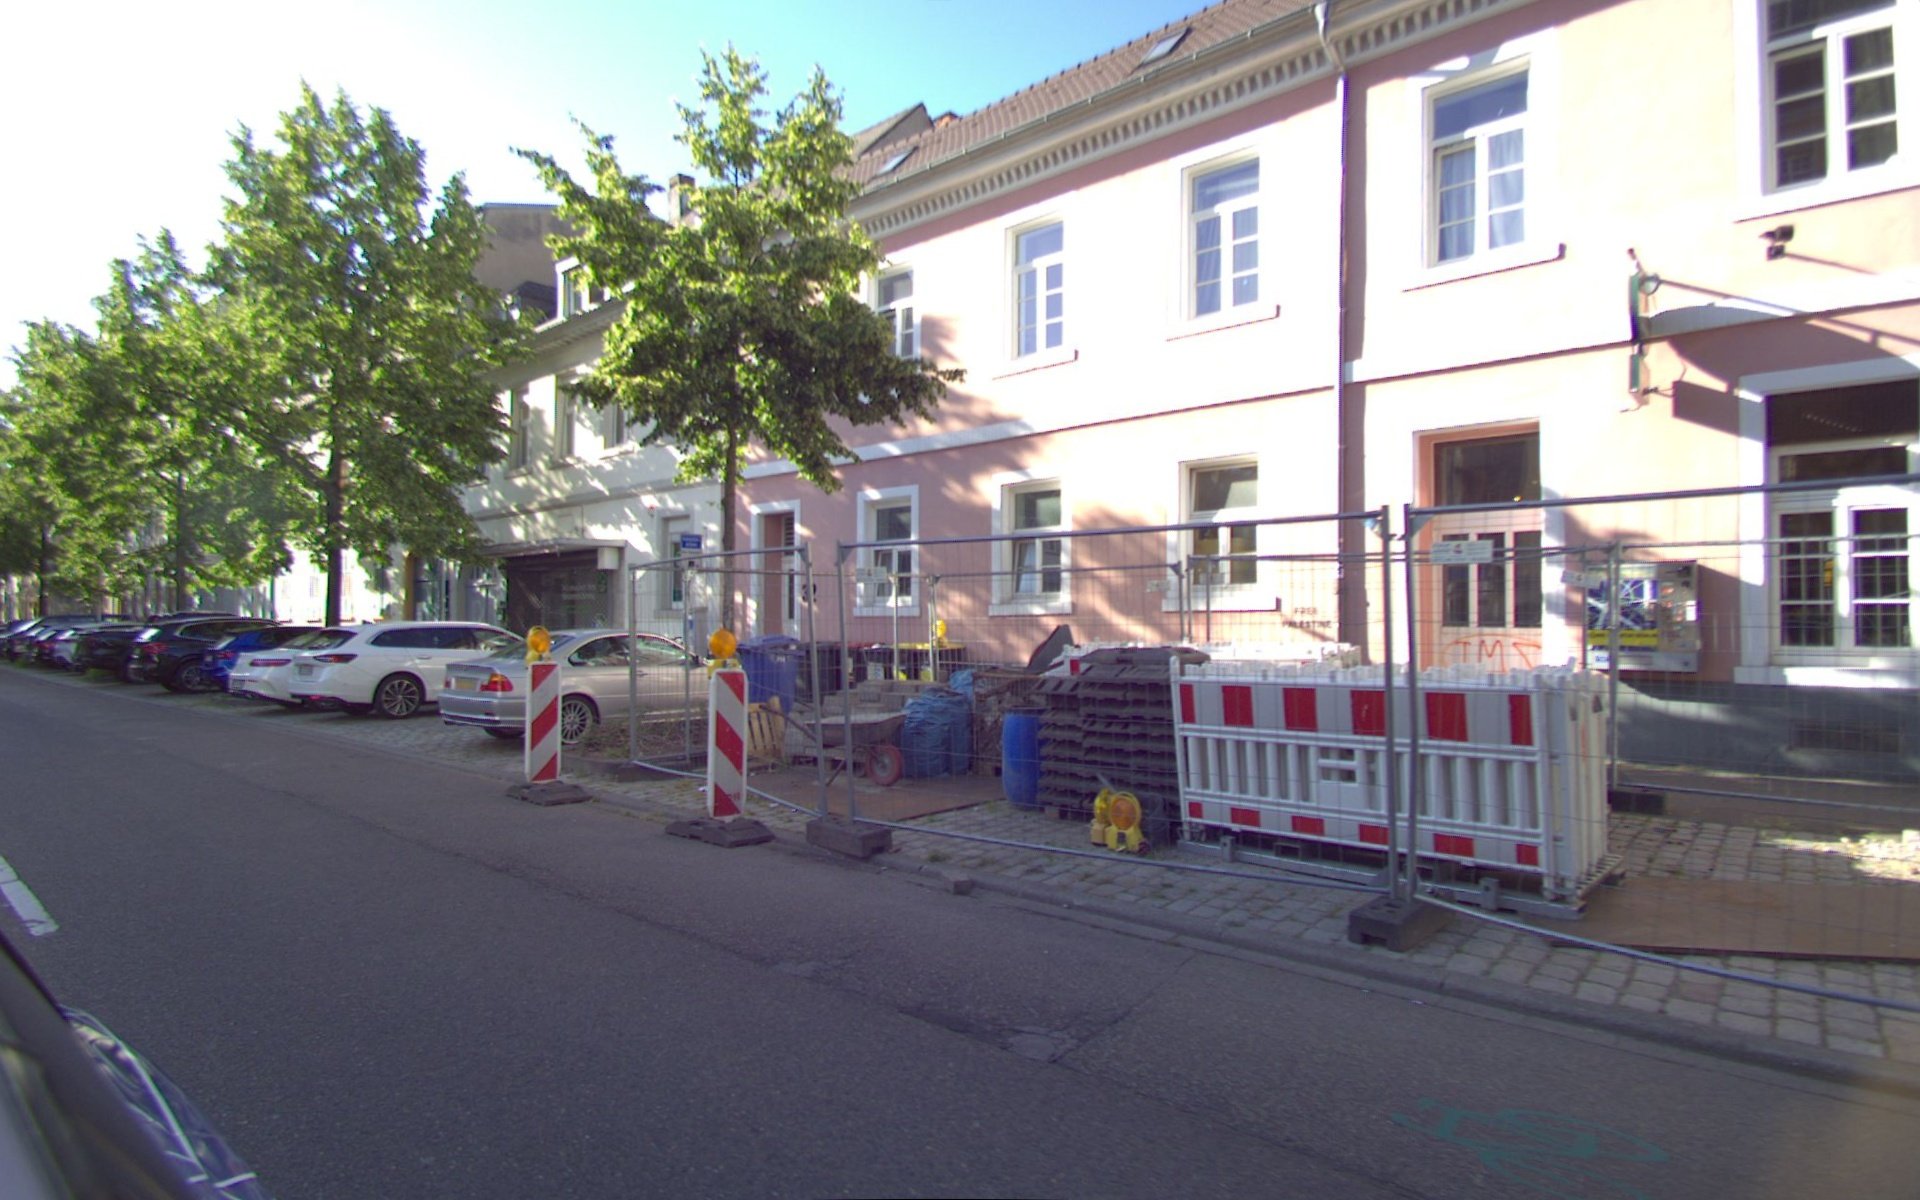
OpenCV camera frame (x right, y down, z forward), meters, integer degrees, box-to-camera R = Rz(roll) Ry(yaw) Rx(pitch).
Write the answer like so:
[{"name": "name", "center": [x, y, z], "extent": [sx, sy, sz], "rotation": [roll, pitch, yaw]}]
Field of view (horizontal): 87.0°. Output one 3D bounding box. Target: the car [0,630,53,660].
[{"name": "car", "center": [-51.542, 2.426, 54.102], "extent": [1.916, 1.552, 4.417], "rotation": [-2, -2, 43]}]

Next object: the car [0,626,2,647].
[{"name": "car", "center": [-72.601, 2.703, 73.327], "extent": [1.956, 1.556, 4.310], "rotation": [-1, -1, 29]}]

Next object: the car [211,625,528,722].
[{"name": "car", "center": [-10.459, 1.215, 18.280], "extent": [1.805, 1.476, 4.636], "rotation": [-1, -1, 38]}]

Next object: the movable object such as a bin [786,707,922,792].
[{"name": "movable object such as a bin", "center": [-0.936, 1.290, 8.898], "extent": [1.077, 0.621, 0.621], "rotation": [-2, -3, 41]}]

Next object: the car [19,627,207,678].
[{"name": "car", "center": [-28.248, 1.707, 33.877], "extent": [1.808, 1.531, 4.630], "rotation": [-2, -2, 42]}]

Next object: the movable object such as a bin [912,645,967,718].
[{"name": "movable object such as a bin", "center": [-0.305, 1.209, 15.196], "extent": [0.544, 1.068, 0.625], "rotation": [-2, -3, 42]}]

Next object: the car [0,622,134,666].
[{"name": "car", "center": [-38.905, 1.861, 44.015], "extent": [1.916, 1.785, 4.418], "rotation": [-2, -2, 42]}]

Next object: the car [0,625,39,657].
[{"name": "car", "center": [-57.553, 2.415, 59.781], "extent": [1.909, 1.848, 4.308], "rotation": [-1, -1, 31]}]

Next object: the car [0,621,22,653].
[{"name": "car", "center": [-61.402, 2.324, 62.861], "extent": [1.930, 1.941, 4.523], "rotation": [-2, -2, 43]}]

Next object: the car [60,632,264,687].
[{"name": "car", "center": [-24.074, 1.727, 30.686], "extent": [1.808, 1.474, 4.630], "rotation": [-2, -2, 42]}]

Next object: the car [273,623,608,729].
[{"name": "car", "center": [-8.400, 1.139, 16.771], "extent": [1.805, 1.476, 4.636], "rotation": [-1, -1, 38]}]

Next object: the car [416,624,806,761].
[{"name": "car", "center": [-4.332, 1.054, 13.273], "extent": [1.805, 1.423, 4.636], "rotation": [-1, -1, 38]}]

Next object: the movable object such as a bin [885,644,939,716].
[{"name": "movable object such as a bin", "center": [-0.736, 1.213, 15.559], "extent": [0.544, 1.068, 0.625], "rotation": [-2, -3, 42]}]

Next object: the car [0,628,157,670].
[{"name": "car", "center": [-34.246, 1.852, 39.281], "extent": [1.682, 1.470, 4.598], "rotation": [-1, -2, 40]}]

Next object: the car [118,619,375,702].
[{"name": "car", "center": [-16.489, 1.318, 23.604], "extent": [1.808, 1.706, 4.630], "rotation": [-2, -2, 42]}]

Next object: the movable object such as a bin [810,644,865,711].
[{"name": "movable object such as a bin", "center": [-2.018, 1.262, 16.705], "extent": [0.574, 1.068, 0.688], "rotation": [-2, -3, 42]}]

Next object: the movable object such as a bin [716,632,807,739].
[{"name": "movable object such as a bin", "center": [-2.307, 0.973, 11.814], "extent": [0.743, 1.195, 0.725], "rotation": [-1, -3, 32]}]

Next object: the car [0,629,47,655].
[{"name": "car", "center": [-55.340, 2.395, 57.986], "extent": [1.914, 1.450, 4.297], "rotation": [-1, -1, 39]}]

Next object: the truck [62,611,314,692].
[{"name": "truck", "center": [-20.515, 1.342, 27.118], "extent": [1.998, 1.953, 5.033], "rotation": [-2, -3, 40]}]

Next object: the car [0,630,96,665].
[{"name": "car", "center": [-44.040, 2.233, 48.048], "extent": [1.917, 1.552, 4.416], "rotation": [-2, -2, 44]}]

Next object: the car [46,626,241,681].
[{"name": "car", "center": [-25.926, 1.657, 32.283], "extent": [1.808, 1.584, 4.630], "rotation": [-2, -2, 42]}]

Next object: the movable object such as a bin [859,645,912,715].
[{"name": "movable object such as a bin", "center": [-1.168, 1.243, 15.940], "extent": [0.544, 1.068, 0.625], "rotation": [-2, -3, 42]}]

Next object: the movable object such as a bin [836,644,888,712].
[{"name": "movable object such as a bin", "center": [-1.576, 1.249, 16.333], "extent": [0.544, 1.068, 0.625], "rotation": [-2, -3, 42]}]

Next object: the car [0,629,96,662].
[{"name": "car", "center": [-47.262, 2.313, 51.890], "extent": [1.808, 1.594, 4.294], "rotation": [-1, -2, 40]}]

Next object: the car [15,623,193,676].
[{"name": "car", "center": [-30.322, 1.694, 35.971], "extent": [1.808, 1.725, 4.630], "rotation": [-2, -2, 42]}]

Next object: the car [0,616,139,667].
[{"name": "car", "center": [-36.783, 1.670, 41.466], "extent": [1.916, 1.965, 4.630], "rotation": [-2, -2, 42]}]

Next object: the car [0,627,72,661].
[{"name": "car", "center": [-49.394, 2.279, 52.891], "extent": [1.915, 1.722, 4.294], "rotation": [-1, -2, 40]}]

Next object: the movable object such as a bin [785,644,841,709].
[{"name": "movable object such as a bin", "center": [-2.486, 1.277, 17.130], "extent": [0.640, 1.068, 0.688], "rotation": [-2, -3, 42]}]

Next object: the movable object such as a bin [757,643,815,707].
[{"name": "movable object such as a bin", "center": [-3.021, 1.288, 17.593], "extent": [0.731, 1.068, 0.688], "rotation": [-2, -3, 42]}]

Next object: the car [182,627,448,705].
[{"name": "car", "center": [-14.001, 1.364, 22.196], "extent": [1.808, 1.474, 4.630], "rotation": [-2, -2, 42]}]
